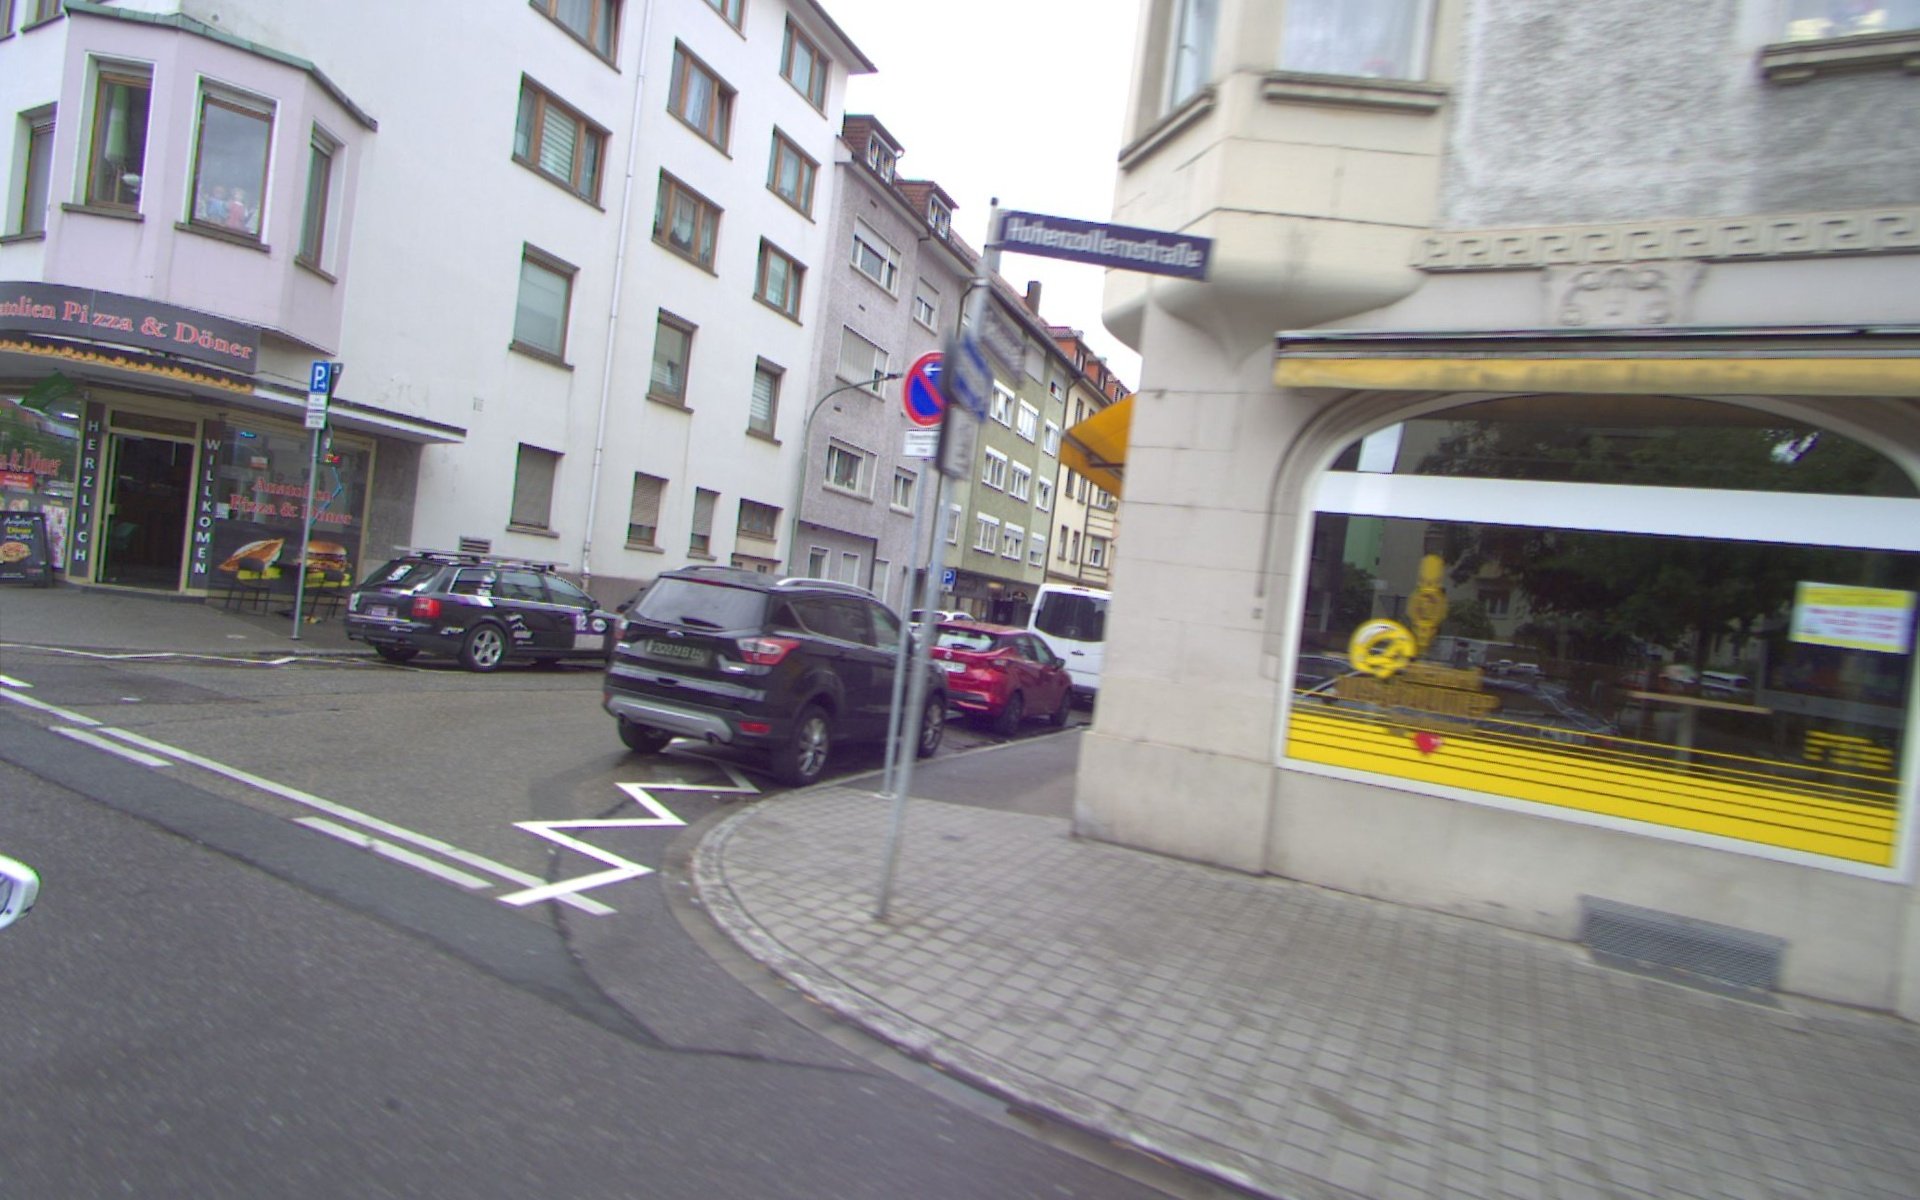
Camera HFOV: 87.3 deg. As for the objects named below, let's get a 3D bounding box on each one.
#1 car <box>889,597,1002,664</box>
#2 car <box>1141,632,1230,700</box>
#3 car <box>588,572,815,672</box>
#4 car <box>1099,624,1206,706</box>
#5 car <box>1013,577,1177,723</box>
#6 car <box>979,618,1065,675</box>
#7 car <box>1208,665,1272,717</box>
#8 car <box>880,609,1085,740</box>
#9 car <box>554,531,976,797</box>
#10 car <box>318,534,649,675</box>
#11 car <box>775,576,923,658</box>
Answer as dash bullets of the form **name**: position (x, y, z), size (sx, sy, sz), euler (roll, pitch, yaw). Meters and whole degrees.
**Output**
- **car**: position (-0.348, 0.955, 29.965), size (1.874, 1.597, 3.903), euler (7, -2, 22)
- **car**: position (6.869, 2.000, 30.330), size (1.874, 1.711, 3.903), euler (7, -2, 22)
- **car**: position (-4.875, 0.493, 19.760), size (1.838, 1.552, 4.632), euler (7, 0, 22)
- **car**: position (4.933, 1.660, 25.425), size (1.874, 1.711, 3.559), euler (7, -2, 22)
- **car**: position (2.904, 1.043, 20.578), size (1.979, 2.433, 4.737), euler (7, -1, 22)
- **car**: position (2.330, 1.744, 36.847), size (1.874, 1.760, 3.903), euler (7, -2, 22)
- **car**: position (11.098, 3.563, 39.727), size (1.874, 1.711, 3.903), euler (7, -2, 22)
- **car**: position (0.472, 1.062, 15.031), size (1.748, 1.509, 3.695), euler (7, 0, 22)
- **car**: position (-1.531, 0.587, 9.616), size (1.839, 1.793, 4.152), euler (7, -1, 22)
- **car**: position (-6.635, 0.164, 14.551), size (1.773, 1.626, 4.120), euler (5, -1, 22)
- **car**: position (-2.624, 0.479, 24.842), size (1.874, 1.597, 3.903), euler (7, -2, 22)
